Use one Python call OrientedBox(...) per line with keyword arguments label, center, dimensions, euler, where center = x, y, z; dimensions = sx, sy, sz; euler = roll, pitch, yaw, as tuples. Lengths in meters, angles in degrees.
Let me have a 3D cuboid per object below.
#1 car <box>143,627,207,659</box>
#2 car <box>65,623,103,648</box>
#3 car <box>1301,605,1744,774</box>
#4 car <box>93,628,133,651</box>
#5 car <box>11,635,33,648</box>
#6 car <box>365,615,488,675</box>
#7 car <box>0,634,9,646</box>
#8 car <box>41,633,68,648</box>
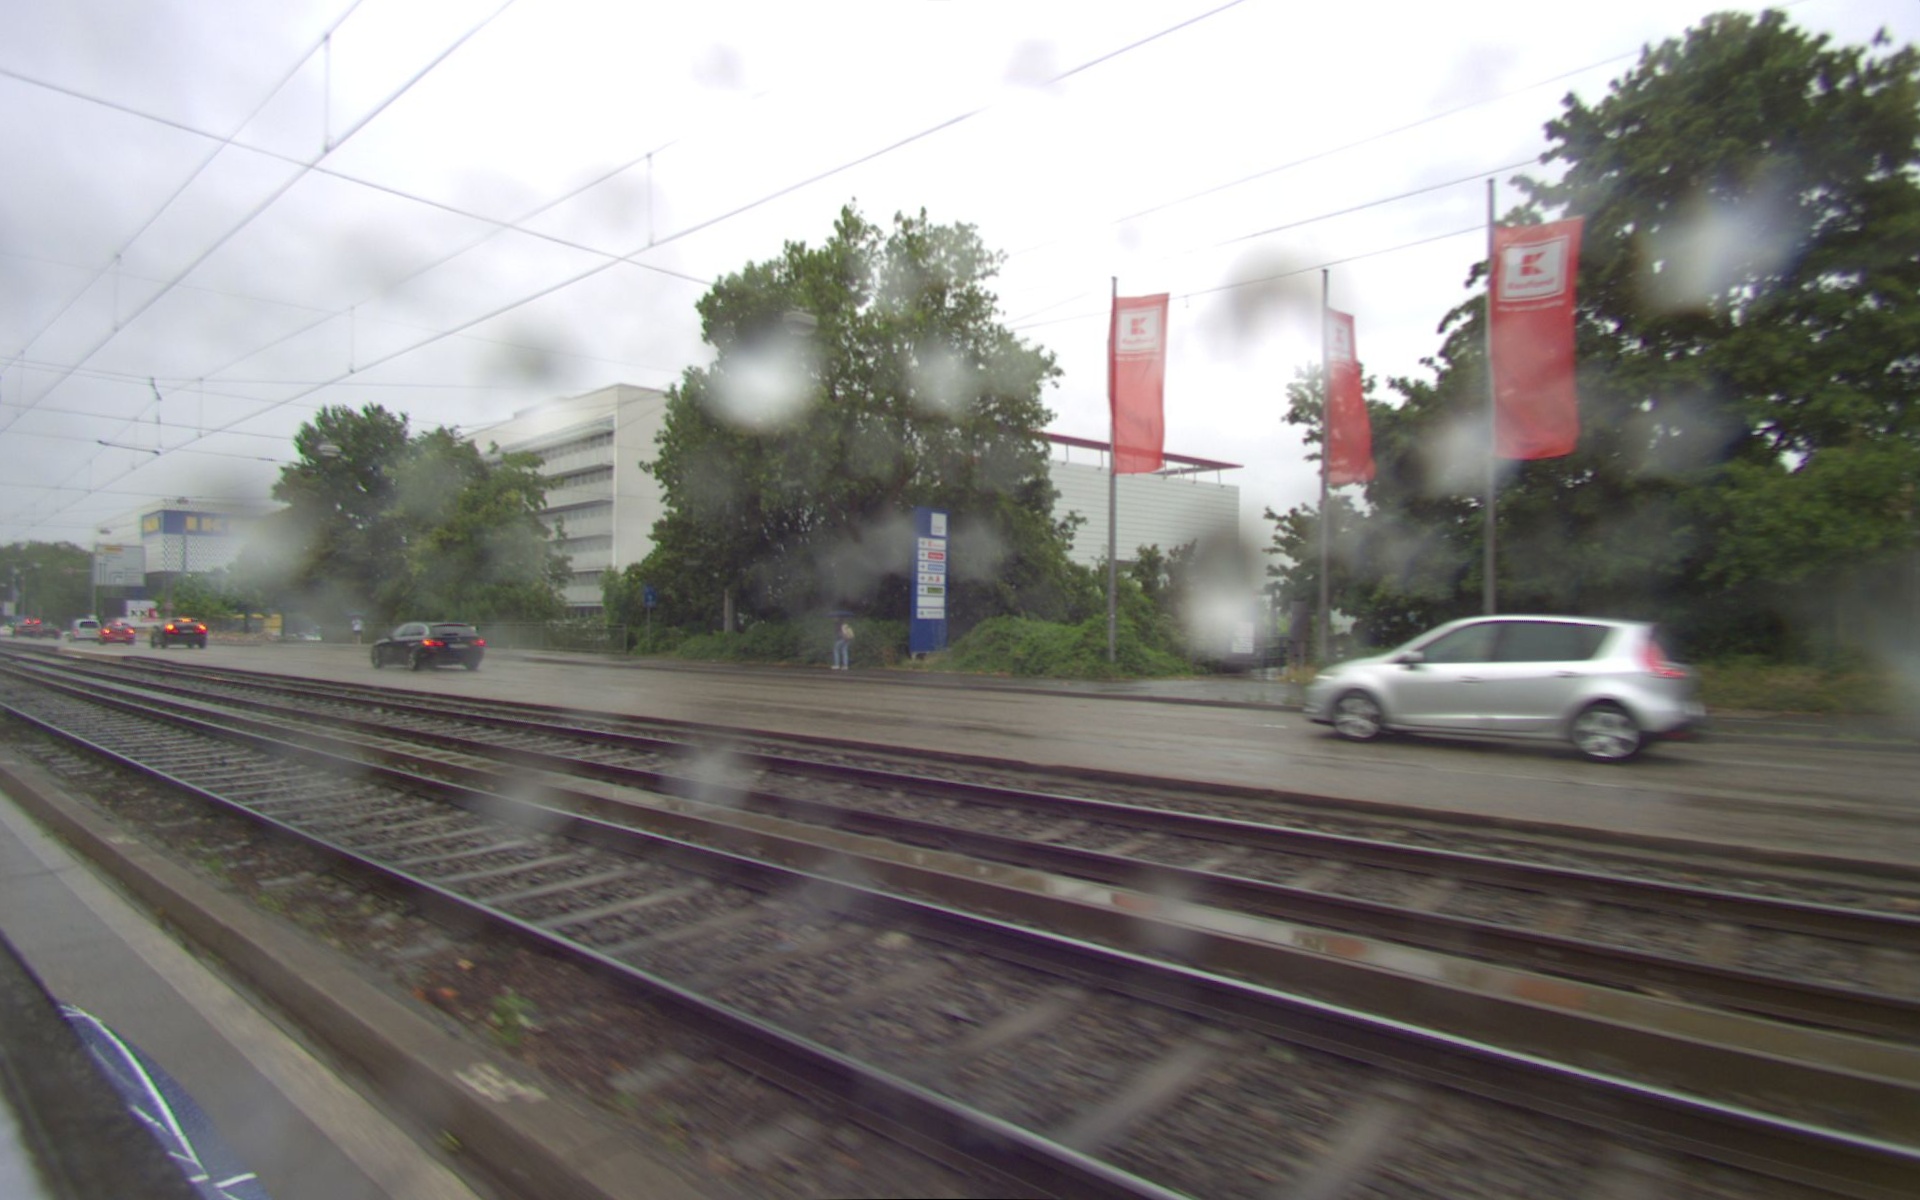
OrientedBox(label="car", center=(-42.646, 2.313, 54.917), dimensions=(4.870, 1.665, 1.916), euler=(-2, -3, 42))
OrientedBox(label="car", center=(-71.001, 2.872, 82.001), dimensions=(3.999, 1.924, 1.821), euler=(-2, -3, 42))
OrientedBox(label="car", center=(6.636, 0.954, 12.237), dimensions=(4.346, 1.655, 1.868), euler=(-2, -1, 42))
OrientedBox(label="car", center=(-57.088, 2.667, 68.202), dimensions=(1.684, 1.465, 4.002), euler=(2, -3, -45))
OrientedBox(label="car", center=(-109.051, 4.806, 117.630), dimensions=(4.001, 1.557, 1.625), euler=(-2, -3, 44))
OrientedBox(label="car", center=(-16.063, 1.329, 30.403), dimensions=(4.396, 1.655, 1.868), euler=(-2, -1, 42))
OrientedBox(label="car", center=(-133.695, 5.588, 140.991), dimensions=(1.548, 1.557, 4.002), euler=(0, -2, -45))
OrientedBox(label="car", center=(-94.081, 4.230, 105.093), dimensions=(3.999, 1.557, 1.685), euler=(-2, -3, 42))
